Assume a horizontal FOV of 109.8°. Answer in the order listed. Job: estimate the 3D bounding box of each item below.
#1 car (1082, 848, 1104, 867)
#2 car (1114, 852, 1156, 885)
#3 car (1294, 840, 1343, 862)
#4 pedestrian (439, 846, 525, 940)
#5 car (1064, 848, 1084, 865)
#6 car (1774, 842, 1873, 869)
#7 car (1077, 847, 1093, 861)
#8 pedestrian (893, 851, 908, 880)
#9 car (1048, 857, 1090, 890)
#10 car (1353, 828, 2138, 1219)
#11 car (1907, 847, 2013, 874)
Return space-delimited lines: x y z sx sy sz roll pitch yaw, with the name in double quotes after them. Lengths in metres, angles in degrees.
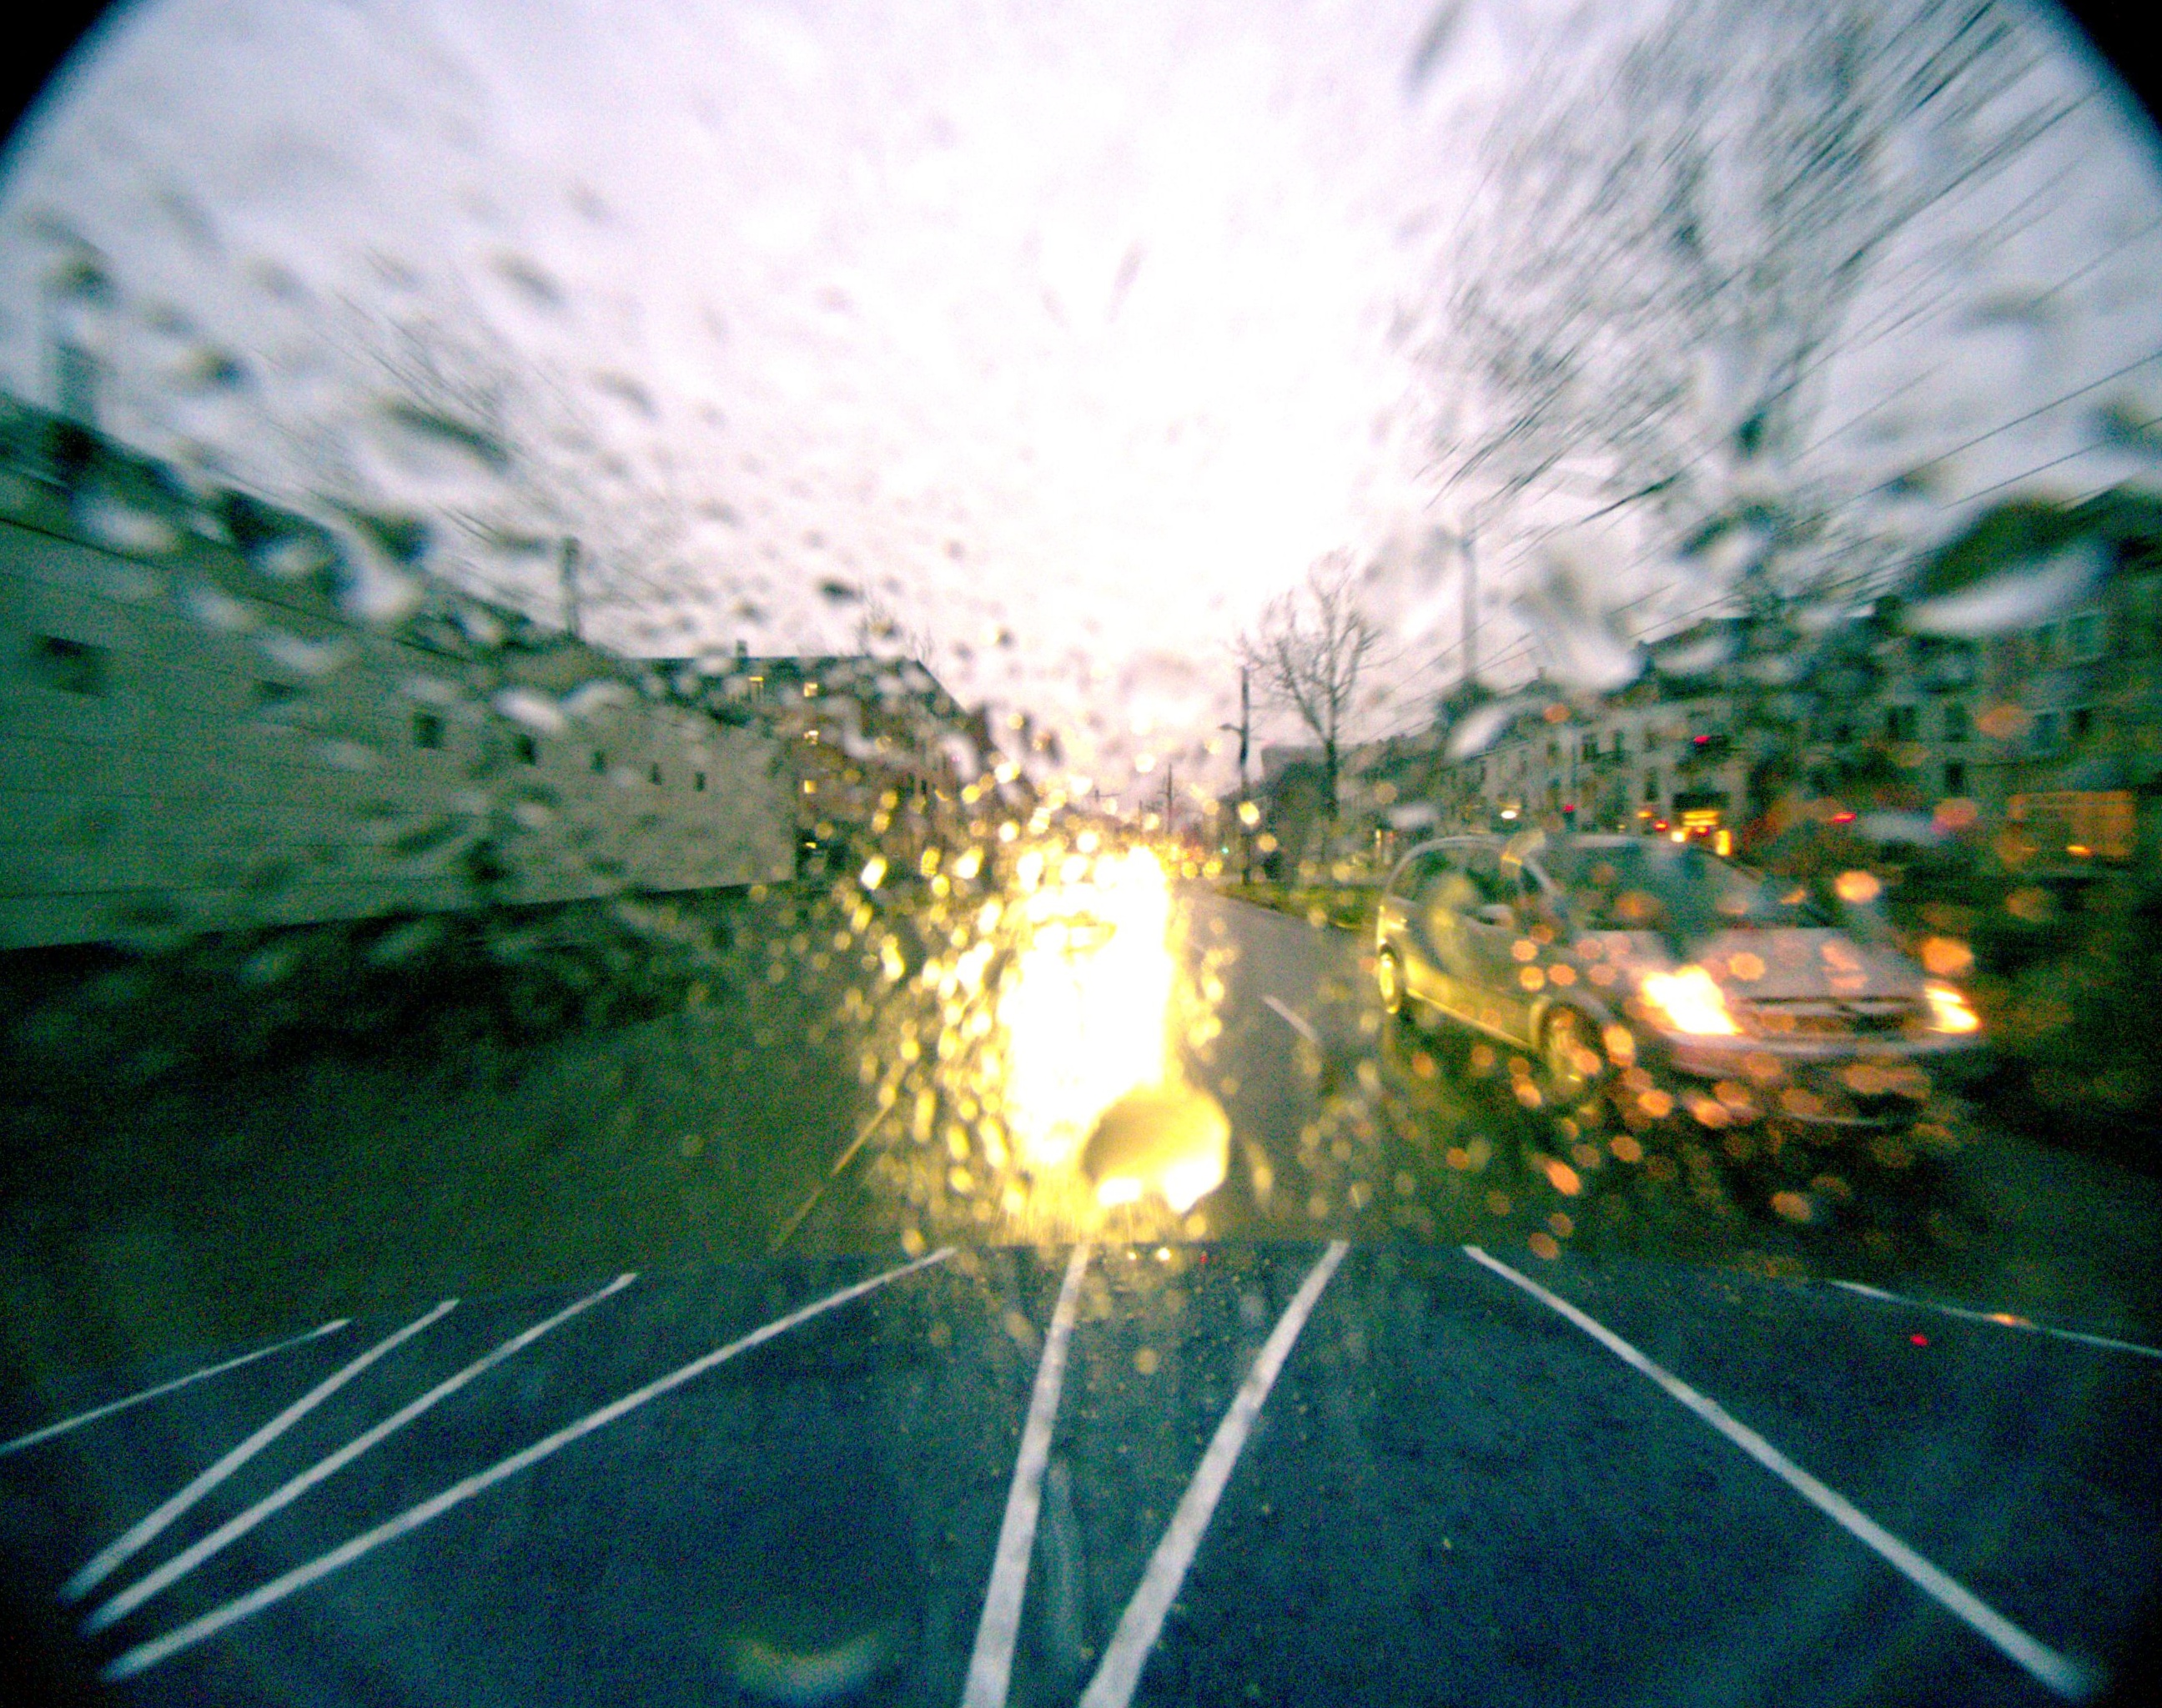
1.116 0.321 71.431 1.998 1.745 4.000 0 0 1 "car"
2.583 0.666 37.163 1.813 1.488 4.053 -2 1 2 "car"
30.794 -0.380 98.638 5.850 2.781 2.004 0 1 43 "car"
-10.545 0.664 13.395 0.940 1.608 0.694 0 1 -2 "pedestrian"
-0.747 0.300 80.885 1.998 1.745 4.000 0 0 1 "car"
43.029 0.087 44.106 3.997 1.477 1.794 -1 1 1 "car"
0.487 0.020 98.342 1.998 1.694 4.000 0 0 0 "car"
-10.070 0.615 42.393 0.623 1.601 1.067 -1 1 -2 "pedestrian"
-0.523 0.887 36.591 1.813 1.385 4.053 -2 1 2 "car"
3.526 0.695 5.213 1.814 1.591 4.053 -2 1 0 "car"
50.322 0.352 43.553 3.997 1.477 1.794 -1 1 1 "car"
